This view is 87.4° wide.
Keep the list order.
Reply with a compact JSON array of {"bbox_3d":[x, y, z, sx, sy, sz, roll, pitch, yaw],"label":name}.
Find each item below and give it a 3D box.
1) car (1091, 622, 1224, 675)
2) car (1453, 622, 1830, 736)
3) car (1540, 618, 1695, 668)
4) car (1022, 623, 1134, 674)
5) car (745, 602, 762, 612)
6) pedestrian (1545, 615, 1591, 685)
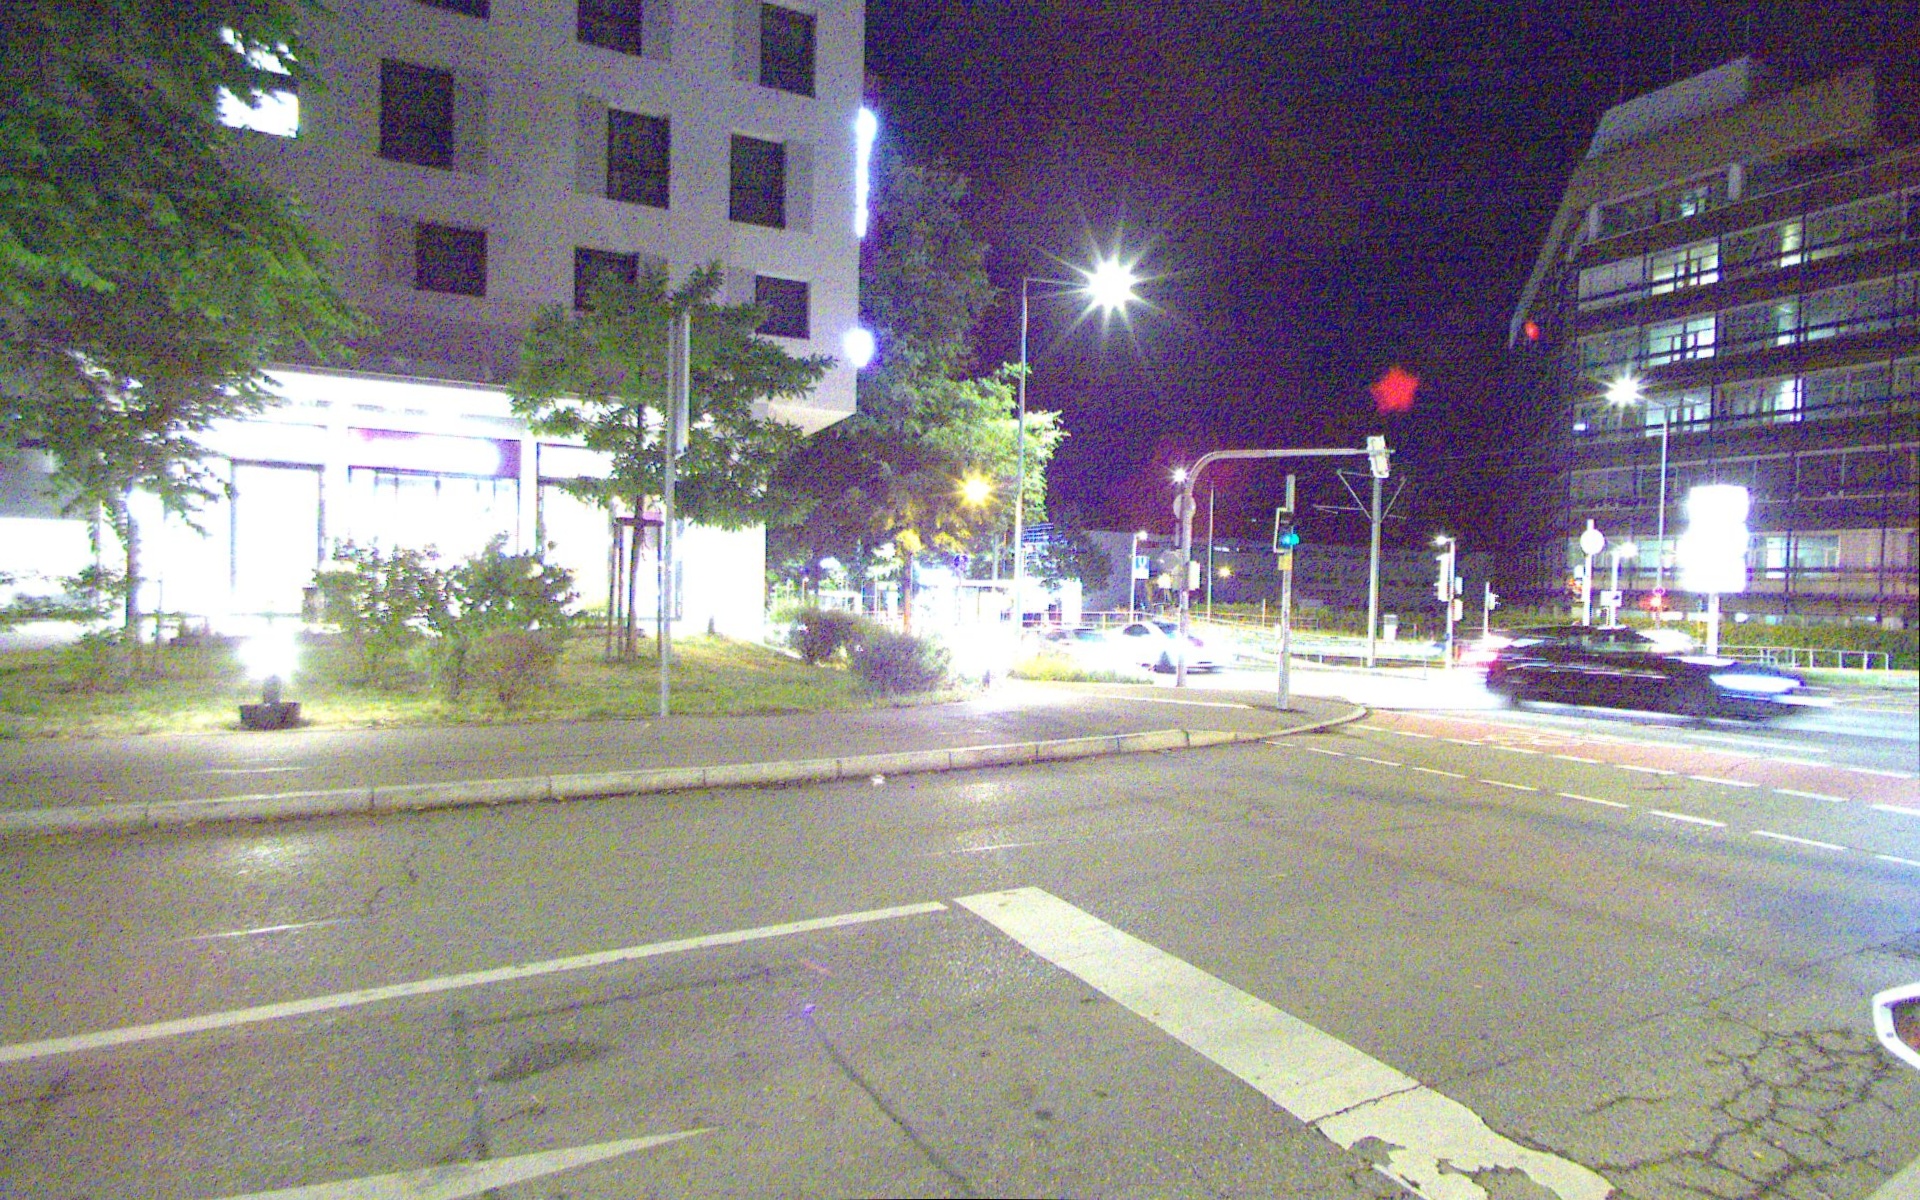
[{"bbox_3d":[6.414,1.531,33.258,1.722,1.620,4.905,1,-1,-26],"label":"car"},{"bbox_3d":[10.732,1.133,16.320,1.722,1.493,4.905,1,-1,-26],"label":"car"},{"bbox_3d":[24.542,1.556,37.696,1.823,1.606,4.552,0,1,-27],"label":"car"},{"bbox_3d":[3.645,1.477,31.684,1.722,1.456,3.889,1,-1,-26],"label":"car"},{"bbox_3d":[-33.468,1.141,162.933,1.845,1.506,3.822,3,0,-26],"label":"car"},{"bbox_3d":[15.637,1.281,25.862,0.693,1.745,0.679,2,0,-4],"label":"pedestrian"}]
